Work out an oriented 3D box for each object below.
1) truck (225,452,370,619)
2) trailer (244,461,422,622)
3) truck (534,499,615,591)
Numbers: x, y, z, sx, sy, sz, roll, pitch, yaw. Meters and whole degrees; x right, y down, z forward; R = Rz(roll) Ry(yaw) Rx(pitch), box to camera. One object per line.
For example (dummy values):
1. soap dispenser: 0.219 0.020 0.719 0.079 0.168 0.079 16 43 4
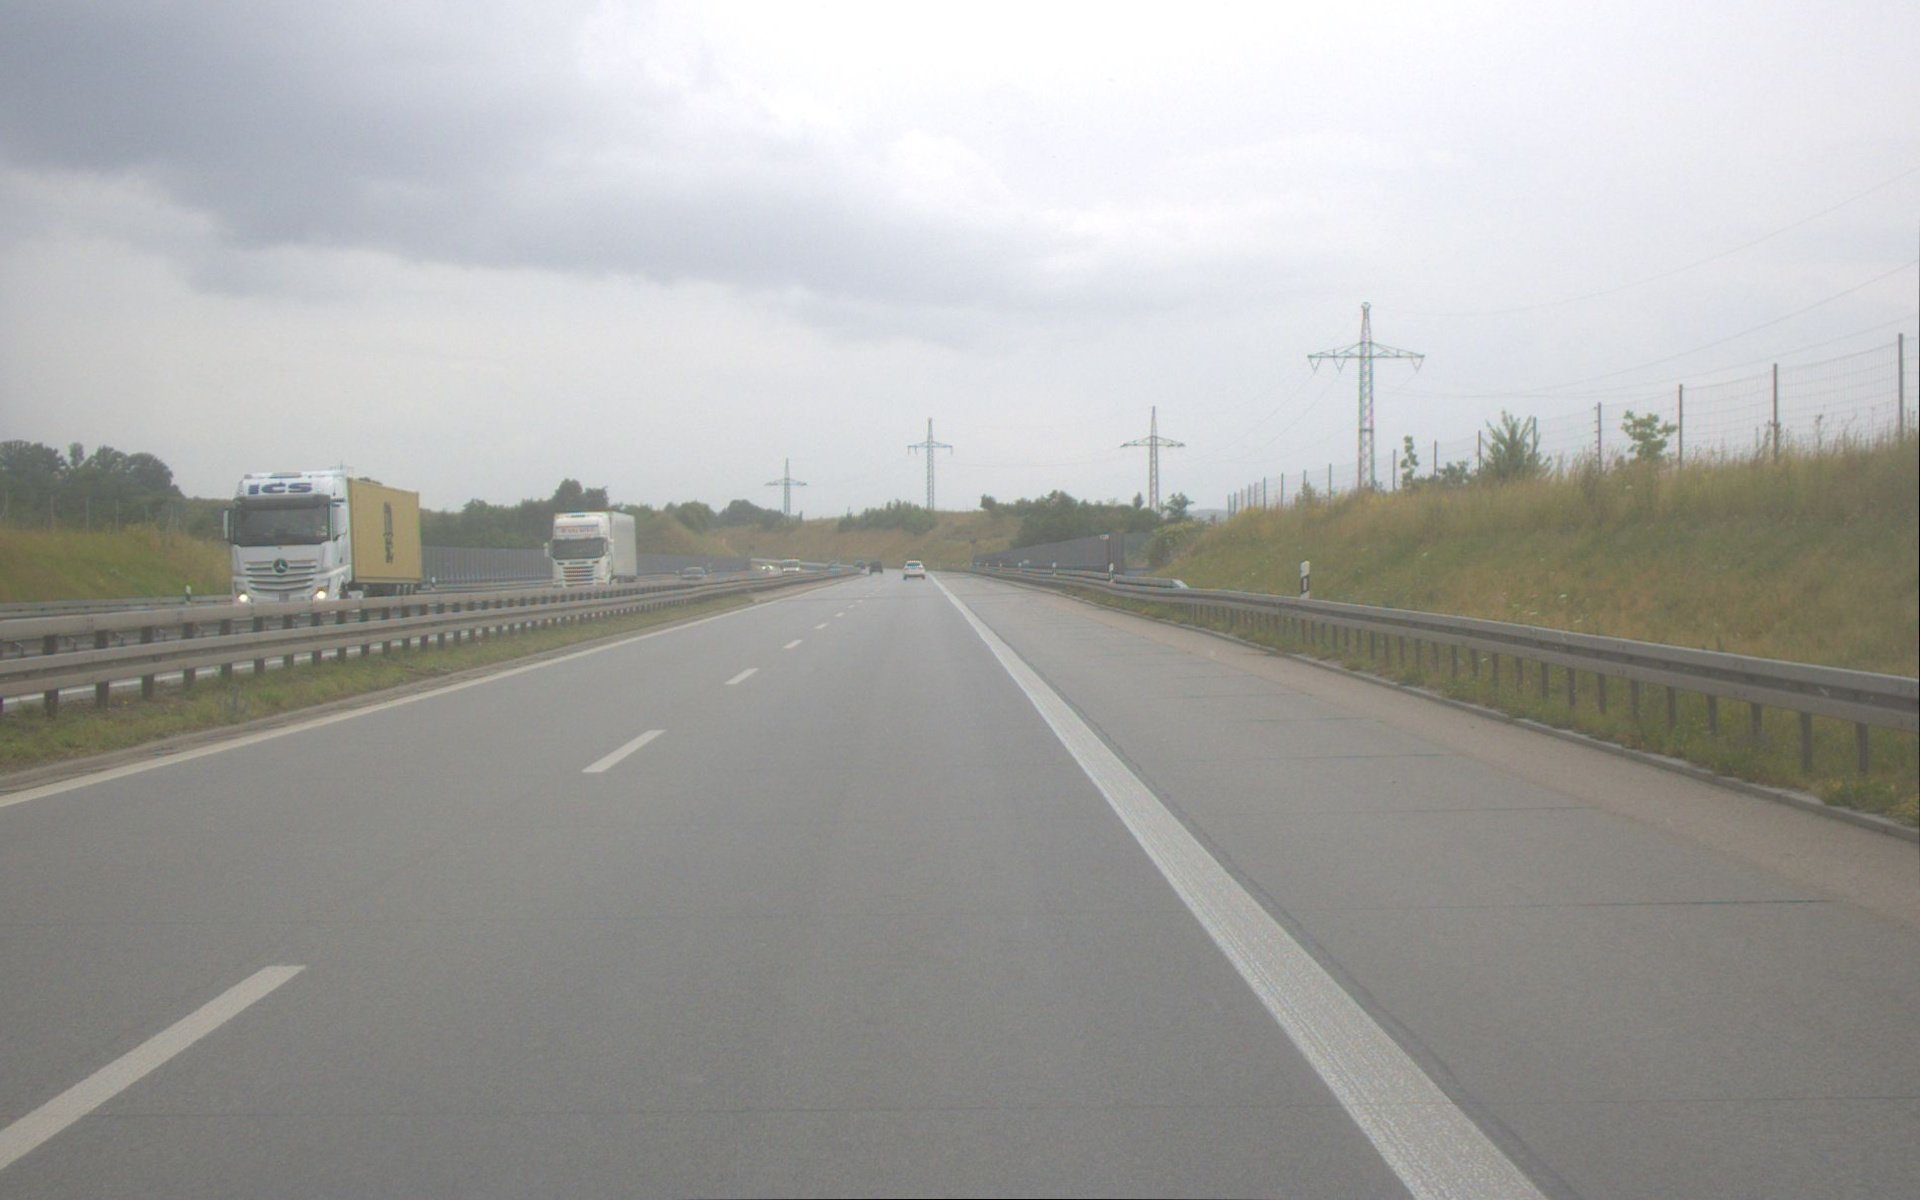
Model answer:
1. truck: -16.211 -1.570 84.439 2.592 3.912 5.588 -1 1 -2
2. trailer: -16.444 -1.521 91.123 2.589 3.912 13.703 -1 1 -2
3. truck: -17.043 -2.428 152.187 2.952 3.912 5.518 -1 1 -1
